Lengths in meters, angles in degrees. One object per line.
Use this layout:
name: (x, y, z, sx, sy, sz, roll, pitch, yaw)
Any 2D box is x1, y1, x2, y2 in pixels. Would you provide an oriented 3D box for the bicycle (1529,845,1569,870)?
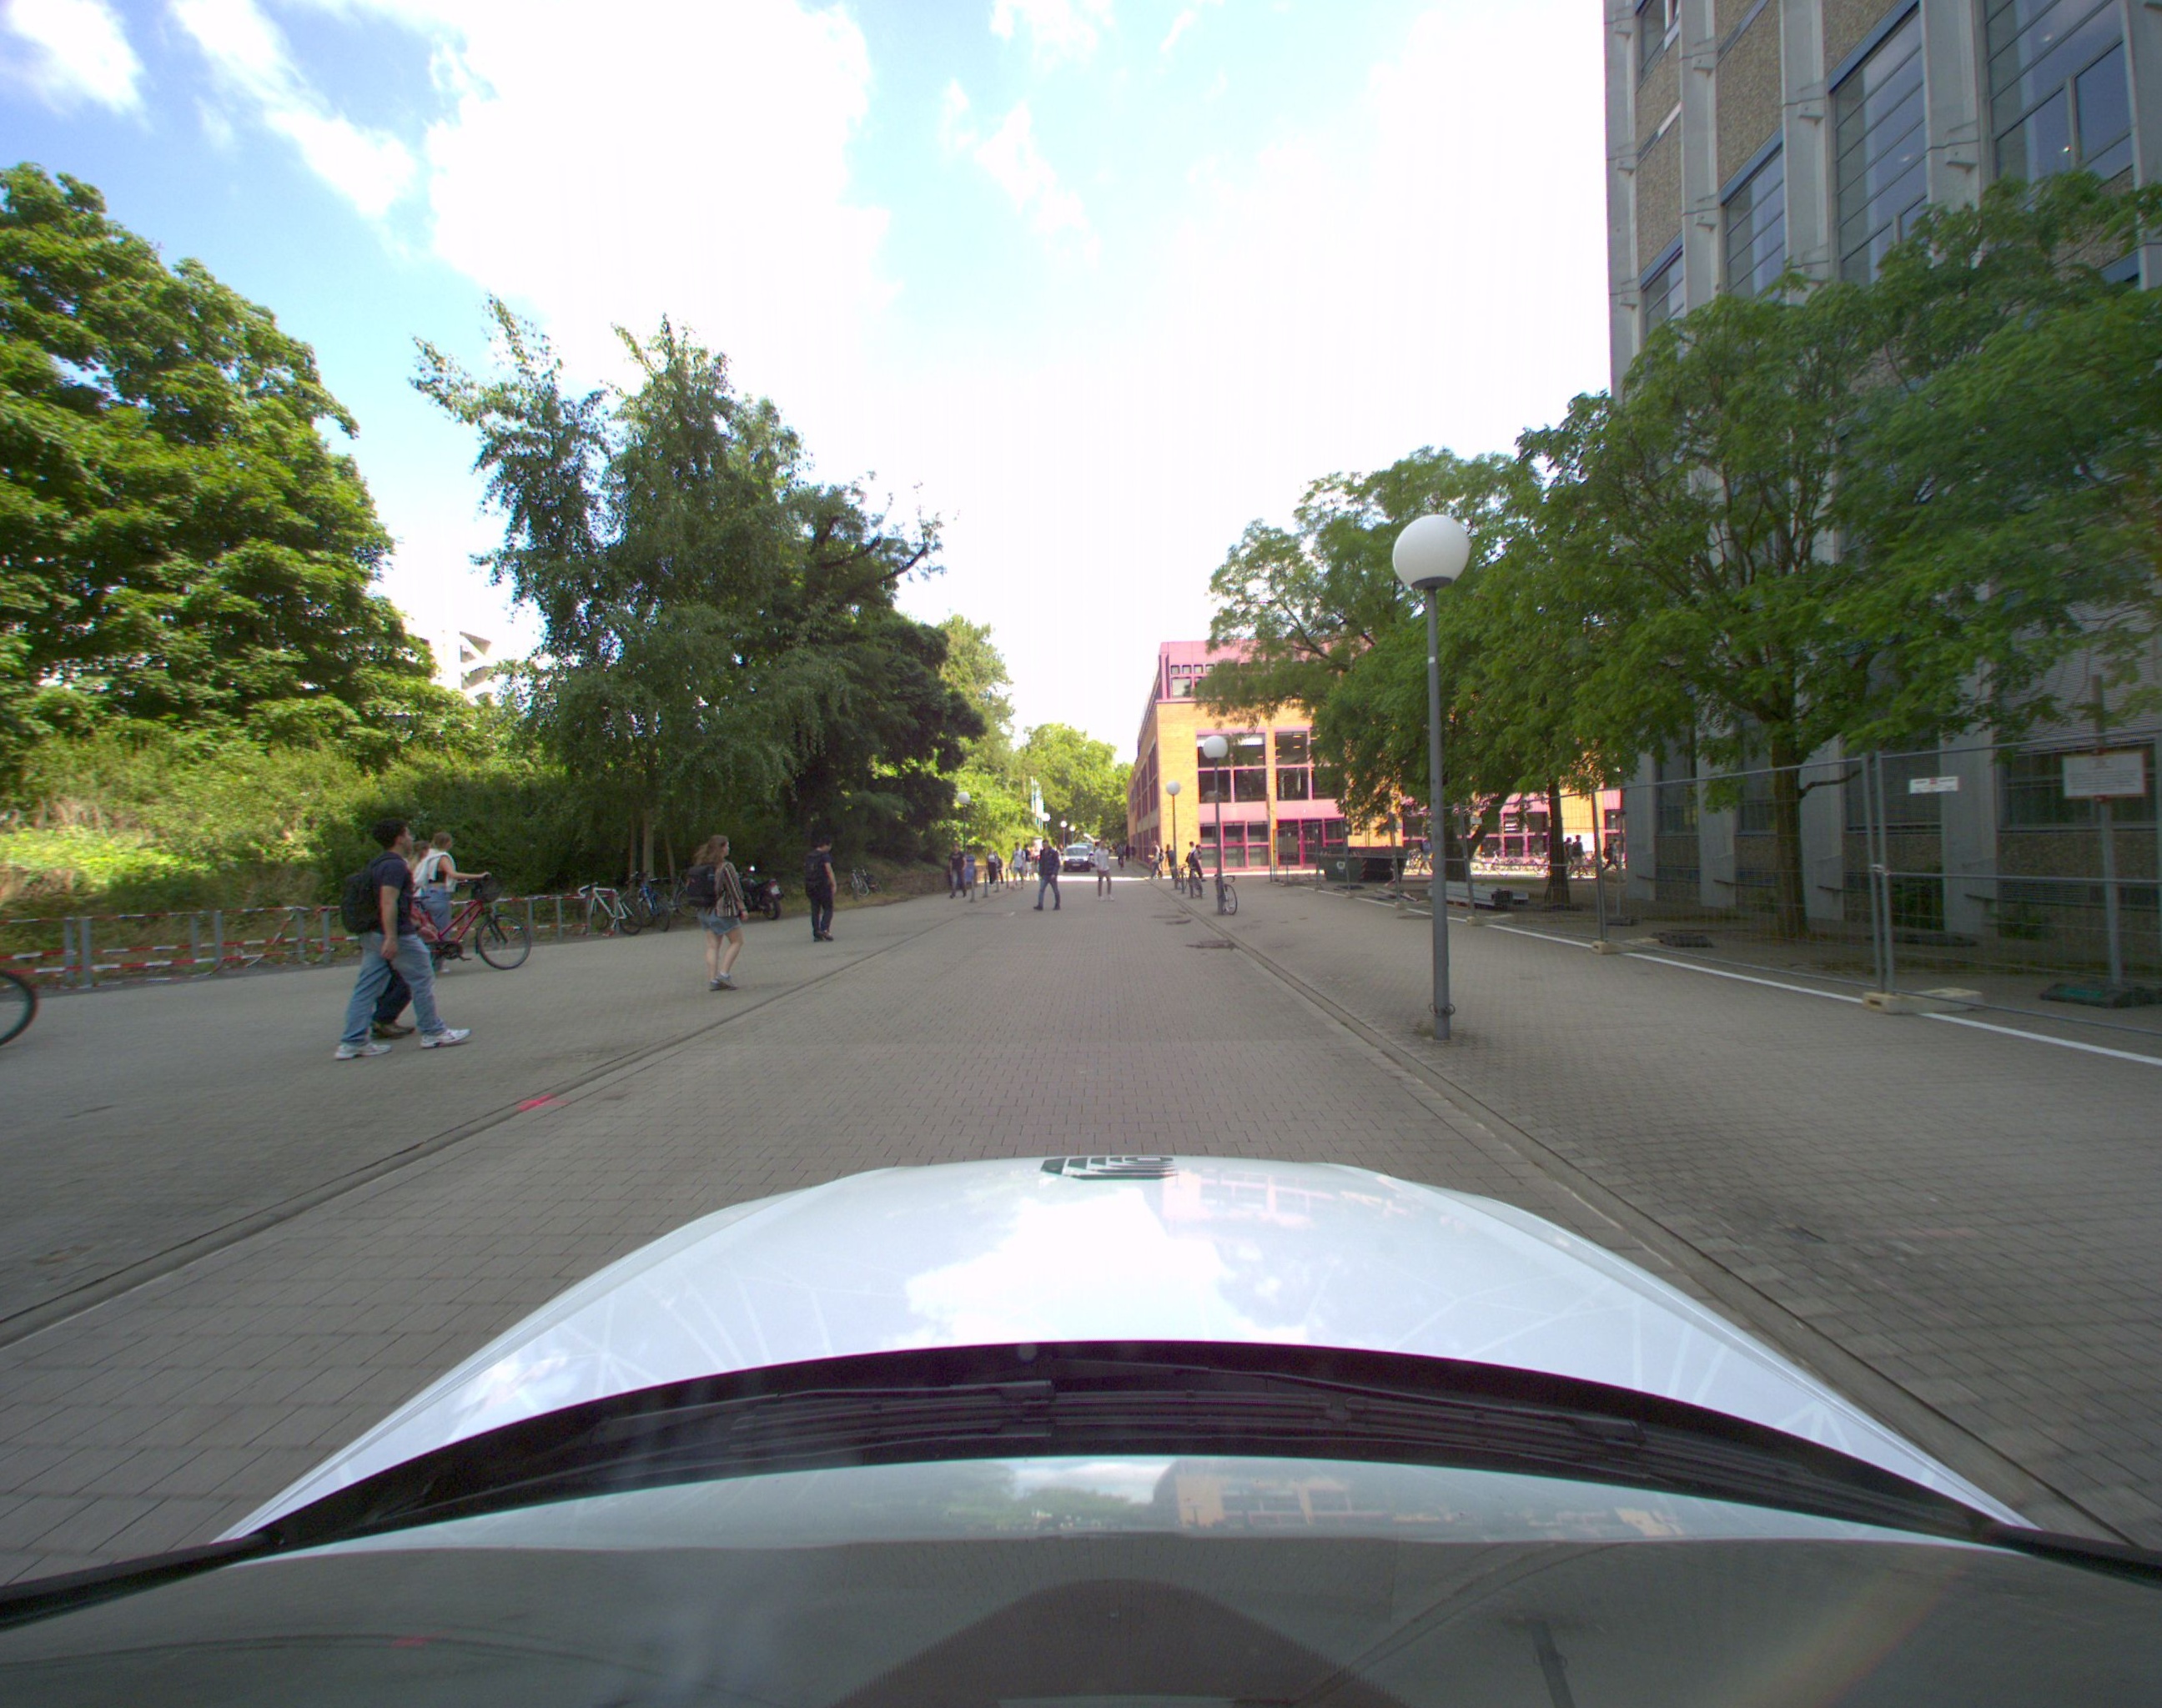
bicycle: (21.983, 0.144, 38.253, 1.809, 1.169, 0.472, 0, 0, -15)

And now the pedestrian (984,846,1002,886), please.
pedestrian: (-3.833, 0.510, 35.505, 0.681, 1.728, 1.001, -1, 0, -2)

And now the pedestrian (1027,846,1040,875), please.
pedestrian: (-2.673, 0.381, 45.922, 0.681, 1.620, 0.913, -1, -1, -3)

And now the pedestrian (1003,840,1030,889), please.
pedestrian: (-2.513, 0.403, 31.703, 0.719, 1.881, 1.086, -1, -1, 12)

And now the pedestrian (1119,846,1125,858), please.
pedestrian: (5.433, -0.259, 107.826, 0.722, 1.672, 0.749, -3, -1, 3)

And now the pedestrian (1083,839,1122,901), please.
pedestrian: (0.651, 0.469, 24.880, 0.786, 1.845, 1.109, -1, 0, -23)

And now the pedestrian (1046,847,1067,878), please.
pedestrian: (-1.241, 0.447, 41.115, 0.880, 1.542, 0.745, -1, -1, 11)

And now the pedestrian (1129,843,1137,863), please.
pedestrian: (4.527, -0.085, 70.409, 0.584, 1.672, 0.699, -3, -1, 3)

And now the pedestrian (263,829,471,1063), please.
pedestrian: (-5.820, 0.677, 6.676, 0.710, 1.724, 1.071, -1, 1, 34)

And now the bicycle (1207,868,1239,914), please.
bicycle: (3.200, 0.815, 18.454, 0.394, 0.936, 1.732, -4, 0, 1)

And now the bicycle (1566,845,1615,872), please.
bicycle: (22.142, 0.186, 35.382, 1.797, 1.169, 0.475, 0, 0, 4)

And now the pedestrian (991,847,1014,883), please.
pedestrian: (-3.640, 0.511, 37.764, 0.907, 1.611, 0.574, -1, -1, 44)

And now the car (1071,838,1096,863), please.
car: (0.249, -0.316, 67.567, 1.876, 1.974, 5.217, -1, 1, 2)

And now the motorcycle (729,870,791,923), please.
motorcycle: (-7.093, 0.900, 17.926, 2.001, 1.047, 0.477, 1, 1, 44)

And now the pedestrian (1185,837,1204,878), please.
pedestrian: (5.189, 0.159, 37.329, 0.762, 1.794, 0.589, -3, -1, 9)

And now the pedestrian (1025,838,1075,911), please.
pedestrian: (-0.796, 0.517, 21.234, 0.877, 1.857, 1.039, 0, 0, 30)

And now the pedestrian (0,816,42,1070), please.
pedestrian: (-8.255, 0.653, 5.730, 0.606, 1.835, 1.056, -1, 0, 29)

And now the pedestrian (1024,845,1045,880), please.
pedestrian: (-2.311, 0.426, 40.345, 0.881, 1.672, 0.560, -1, -1, 9)

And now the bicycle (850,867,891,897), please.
bicycle: (-6.717, 0.878, 26.081, 0.418, 0.910, 1.747, -1, -1, 17)

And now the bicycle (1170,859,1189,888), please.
bicycle: (3.597, 0.701, 29.766, 0.449, 0.962, 1.740, -4, 0, 1)

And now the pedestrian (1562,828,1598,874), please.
pedestrian: (19.256, -0.120, 31.427, 0.900, 1.728, 0.684, -2, -2, -3)

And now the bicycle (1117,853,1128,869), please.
bicycle: (2.912, 0.463, 56.728, 0.585, 1.083, 1.906, -1, 0, -2)

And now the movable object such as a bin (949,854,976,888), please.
movable object such as a bin: (-4.808, 0.682, 33.104, 0.704, 1.336, 1.243, 1, 1, 12)

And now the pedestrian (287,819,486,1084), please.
pedestrian: (-5.272, 0.665, 6.210, 0.677, 1.835, 0.947, -1, 1, 35)

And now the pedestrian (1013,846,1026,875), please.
pedestrian: (-3.440, 0.375, 45.744, 0.681, 1.620, 0.977, -1, -1, -3)

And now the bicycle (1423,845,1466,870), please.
bicycle: (16.089, 0.150, 36.069, 1.686, 1.110, 0.475, 0, 0, 4)

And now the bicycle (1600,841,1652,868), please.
bicycle: (24.029, 0.030, 35.941, 1.989, 1.169, 0.474, 0, 0, 0)

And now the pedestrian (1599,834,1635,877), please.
pedestrian: (21.903, 0.060, 33.294, 0.900, 1.728, 0.684, -2, -2, -3)

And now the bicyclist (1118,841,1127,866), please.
bicyclist: (2.896, -0.067, 56.747, 0.585, 1.716, 0.665, -1, 0, -2)

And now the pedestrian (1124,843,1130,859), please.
pedestrian: (4.755, -0.321, 84.518, 0.584, 1.672, 0.818, -3, -1, 3)

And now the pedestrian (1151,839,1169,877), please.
pedestrian: (3.961, 0.197, 40.810, 0.823, 1.844, 0.684, -1, -1, -1)

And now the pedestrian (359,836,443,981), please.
pedestrian: (-8.586, 0.654, 10.311, 0.689, 1.724, 0.723, -3, 1, -35)

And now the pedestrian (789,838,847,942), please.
pedestrian: (-4.472, 0.592, 13.915, 0.682, 1.724, 0.904, -1, 0, -1)

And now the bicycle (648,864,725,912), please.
bicycle: (-9.184, 0.768, 19.035, 0.468, 1.047, 1.709, 1, 0, 23)

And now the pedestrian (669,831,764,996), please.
pedestrian: (-3.961, 0.623, 8.899, 0.682, 1.724, 0.731, -1, 0, -1)

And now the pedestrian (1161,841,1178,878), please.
pedestrian: (4.126, 0.239, 37.942, 0.692, 1.672, 0.589, -3, -1, 9)

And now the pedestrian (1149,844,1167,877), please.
pedestrian: (3.768, 0.312, 40.076, 0.778, 1.620, 0.684, -1, -1, -1)

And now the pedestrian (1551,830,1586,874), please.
pedestrian: (19.308, -0.071, 32.282, 0.900, 1.728, 0.684, -2, -2, -3)

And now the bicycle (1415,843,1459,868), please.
bicycle: (16.250, 0.073, 37.190, 1.800, 1.110, 0.524, 0, 0, 5)

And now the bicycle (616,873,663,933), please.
bicycle: (-8.544, 0.925, 15.723, 0.476, 1.047, 1.680, 1, 0, -39)

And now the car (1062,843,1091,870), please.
car: (-0.255, 0.137, 55.373, 1.783, 1.761, 4.483, -2, 1, 2)

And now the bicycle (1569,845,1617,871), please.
bicycle: (23.971, 0.181, 38.133, 1.989, 1.169, 0.474, 0, 0, 0)

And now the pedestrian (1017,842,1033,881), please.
pedestrian: (-2.698, 0.376, 39.506, 0.680, 1.844, 0.783, -1, -1, 1)

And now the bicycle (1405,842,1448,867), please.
bicycle: (16.062, 0.020, 37.855, 1.803, 1.110, 0.524, 0, 0, 0)

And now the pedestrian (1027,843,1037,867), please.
pedestrian: (-3.846, 0.054, 64.197, 0.680, 1.844, 0.783, -1, -1, 1)

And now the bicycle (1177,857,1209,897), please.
bicycle: (3.322, 0.662, 24.249, 0.706, 1.093, 1.749, -1, 0, 1)

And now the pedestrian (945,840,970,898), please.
pedestrian: (-4.087, 0.492, 26.965, 0.681, 1.873, 1.120, -1, -1, -3)

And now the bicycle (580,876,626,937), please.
bicycle: (-8.958, 0.960, 15.244, 0.476, 1.047, 1.680, -1, 0, -39)

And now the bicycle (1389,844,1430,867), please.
bicycle: (15.998, 0.069, 39.682, 1.804, 1.110, 0.523, 0, 0, -2)

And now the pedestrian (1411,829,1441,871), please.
pedestrian: (14.652, -0.152, 34.625, 0.900, 1.728, 0.684, -2, -2, -3)

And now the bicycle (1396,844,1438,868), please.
bicycle: (15.961, 0.077, 38.710, 1.801, 1.110, 0.524, 0, 0, 4)

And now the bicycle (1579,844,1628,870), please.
bicycle: (24.121, 0.143, 37.603, 1.989, 1.169, 0.474, 0, 0, 0)

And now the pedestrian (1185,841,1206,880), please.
pedestrian: (4.943, 0.289, 35.051, 0.847, 1.651, 0.589, -1, -1, 9)

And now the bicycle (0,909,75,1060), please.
bicycle: (-8.708, 1.017, 5.821, 0.468, 1.110, 1.857, -1, 0, 32)

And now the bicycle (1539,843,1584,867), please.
bicycle: (23.992, 0.056, 40.664, 1.990, 1.169, 0.474, 0, 0, 0)

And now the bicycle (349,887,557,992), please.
bicycle: (-7.594, 0.986, 9.960, 0.535, 1.047, 1.921, -1, 1, 34)

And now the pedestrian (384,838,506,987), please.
pedestrian: (-7.852, 0.683, 10.075, 0.669, 1.724, 0.943, -2, 1, 30)

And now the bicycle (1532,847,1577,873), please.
bicycle: (21.713, 0.271, 37.357, 1.800, 1.169, 0.474, 0, 0, -1)

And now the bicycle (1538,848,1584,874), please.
bicycle: (21.712, 0.292, 36.818, 1.799, 1.169, 0.474, 0, 0, 1)
